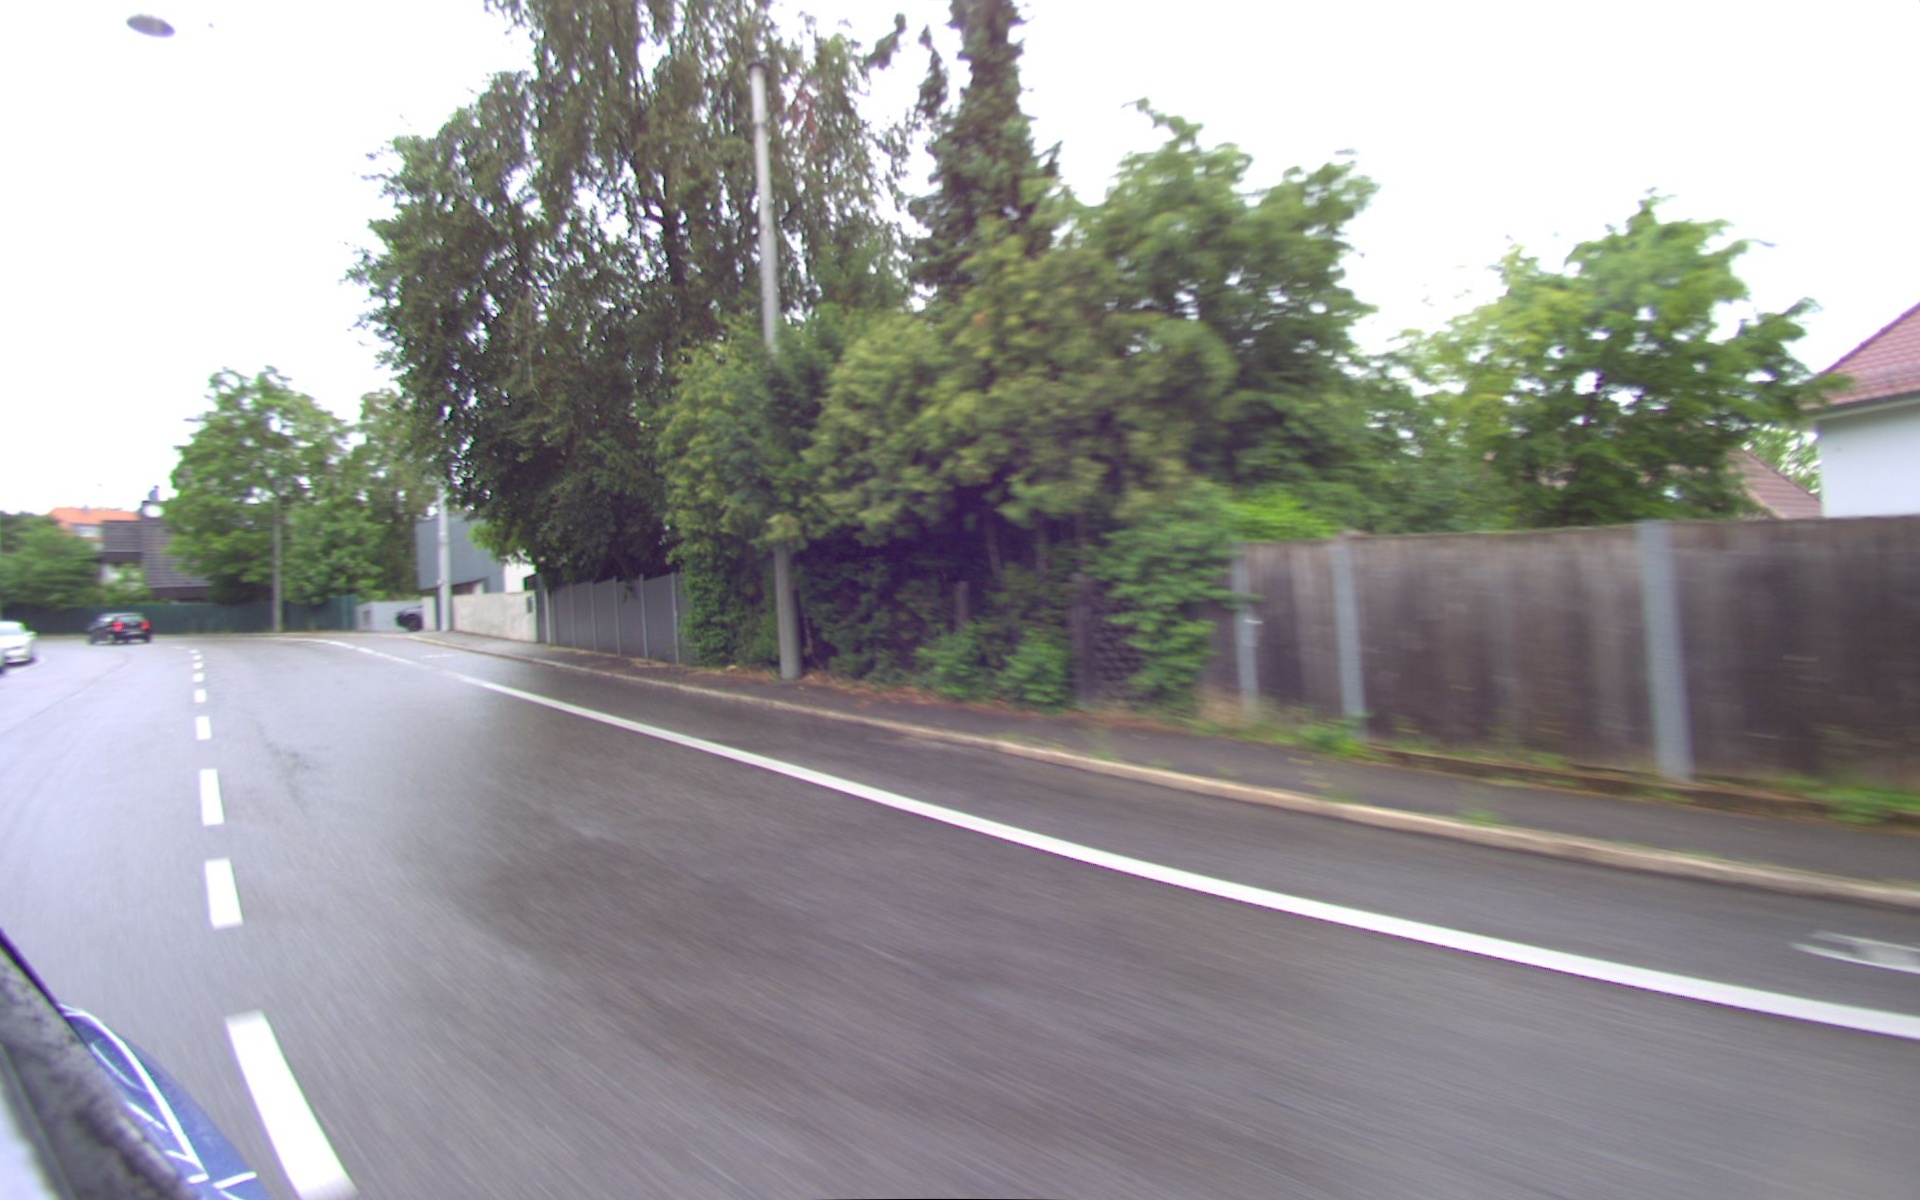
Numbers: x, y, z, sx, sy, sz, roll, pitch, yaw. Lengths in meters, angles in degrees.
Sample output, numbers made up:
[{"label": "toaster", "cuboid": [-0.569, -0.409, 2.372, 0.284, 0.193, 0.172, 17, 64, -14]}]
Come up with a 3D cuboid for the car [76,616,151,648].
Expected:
[{"label": "car", "cuboid": [-41.442, 1.543, 49.538, 3.789, 1.430, 1.637, -1, 3, 32]}]

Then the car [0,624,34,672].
[{"label": "car", "cuboid": [-31.522, 1.581, 32.892, 1.757, 1.446, 4.577, -4, 1, -39]}]

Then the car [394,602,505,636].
[{"label": "car", "cuboid": [-22.431, 0.813, 44.566, 3.941, 1.311, 1.899, -2, 0, -3]}]
